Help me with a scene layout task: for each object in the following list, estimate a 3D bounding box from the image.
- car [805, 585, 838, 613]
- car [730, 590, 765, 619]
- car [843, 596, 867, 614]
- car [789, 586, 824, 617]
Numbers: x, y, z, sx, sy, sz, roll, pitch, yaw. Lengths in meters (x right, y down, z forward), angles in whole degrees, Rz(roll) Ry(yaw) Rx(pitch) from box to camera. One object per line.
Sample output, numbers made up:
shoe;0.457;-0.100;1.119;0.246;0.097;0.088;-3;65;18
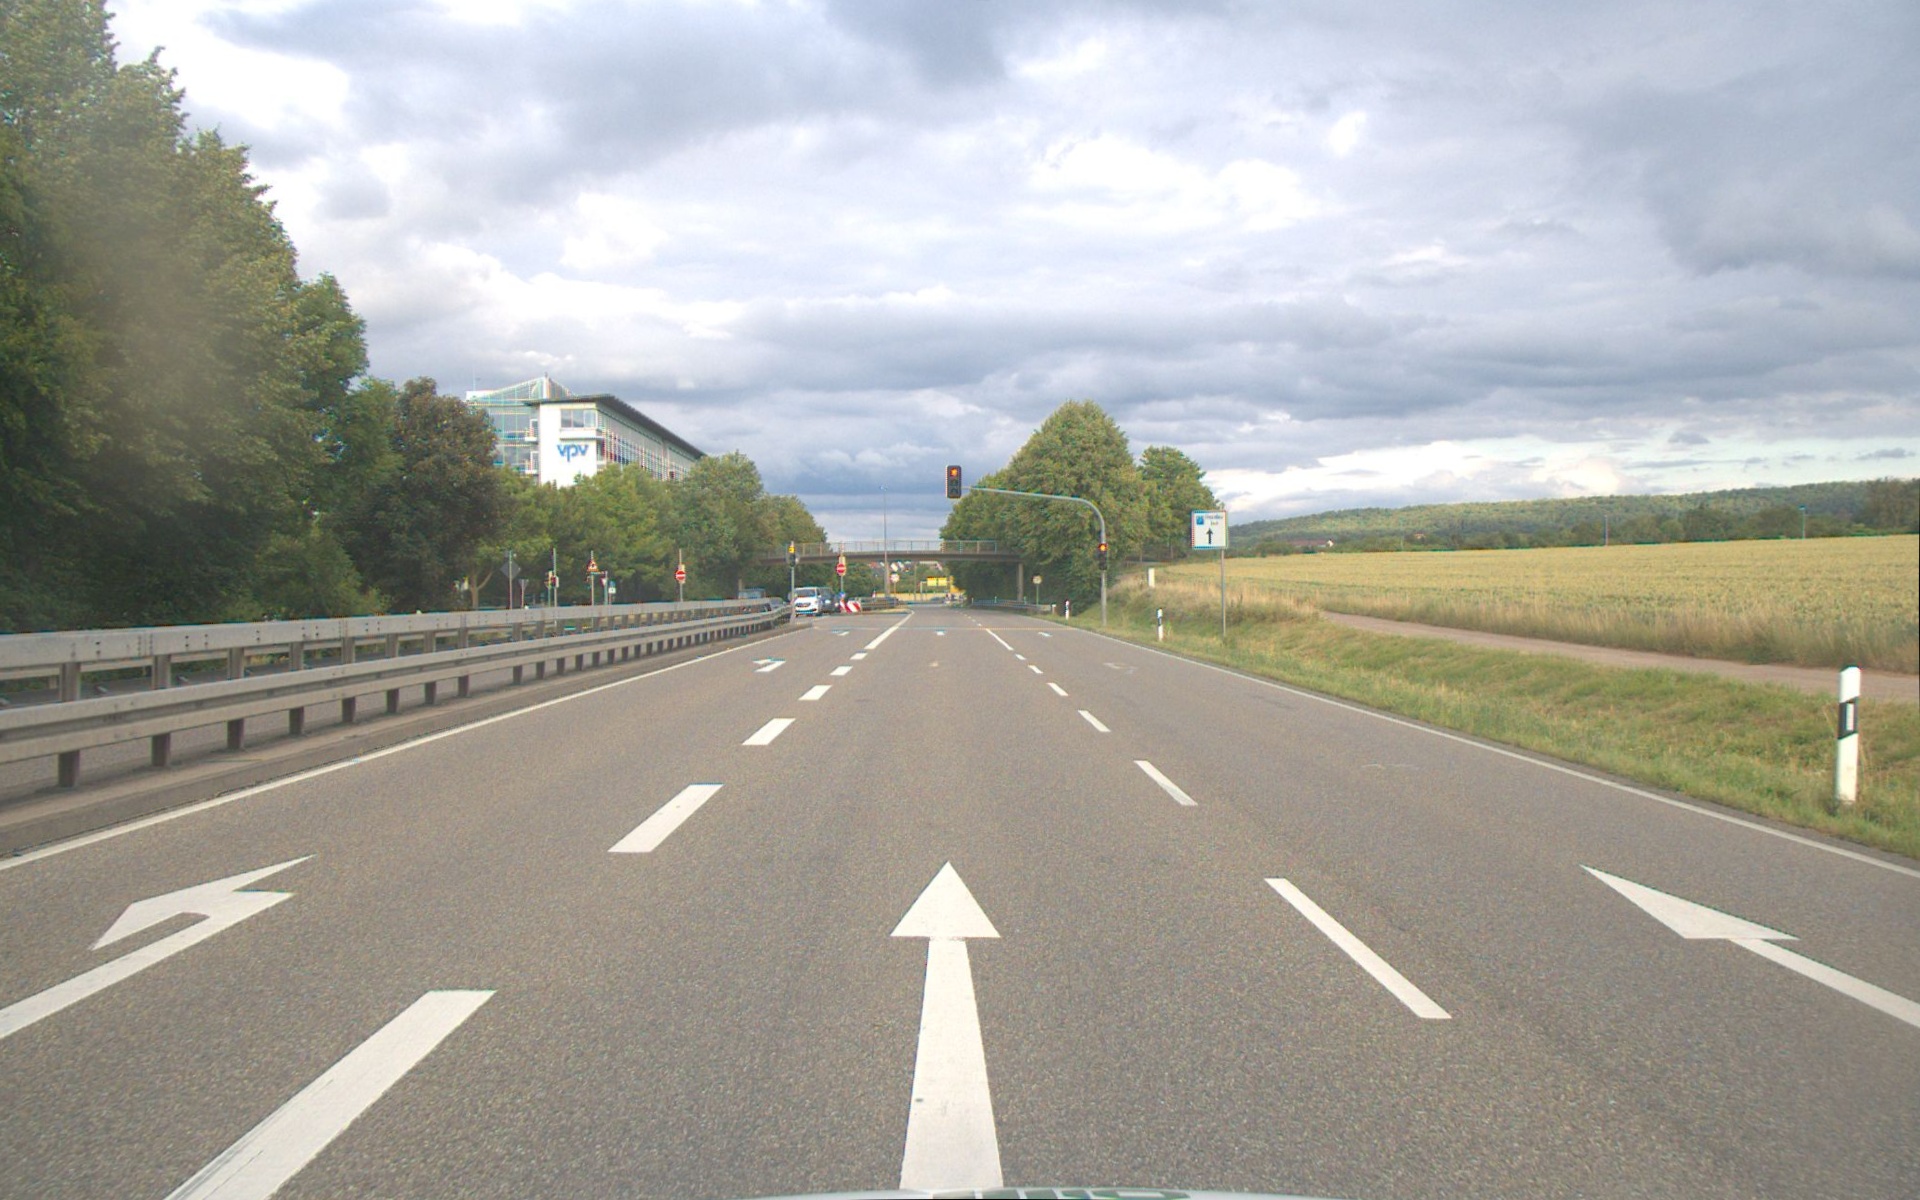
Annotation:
car;-9.831;-0.062;117.612;1.953;1.906;4.736;-1;1;-1
car;-13.798;0.259;107.590;1.831;1.784;4.048;-1;1;-1
car;-6.743;0.320;105.910;1.330;1.111;2.922;-1;1;0
car;-9.969;0.082;107.810;1.908;1.906;4.736;-1;1;-1
